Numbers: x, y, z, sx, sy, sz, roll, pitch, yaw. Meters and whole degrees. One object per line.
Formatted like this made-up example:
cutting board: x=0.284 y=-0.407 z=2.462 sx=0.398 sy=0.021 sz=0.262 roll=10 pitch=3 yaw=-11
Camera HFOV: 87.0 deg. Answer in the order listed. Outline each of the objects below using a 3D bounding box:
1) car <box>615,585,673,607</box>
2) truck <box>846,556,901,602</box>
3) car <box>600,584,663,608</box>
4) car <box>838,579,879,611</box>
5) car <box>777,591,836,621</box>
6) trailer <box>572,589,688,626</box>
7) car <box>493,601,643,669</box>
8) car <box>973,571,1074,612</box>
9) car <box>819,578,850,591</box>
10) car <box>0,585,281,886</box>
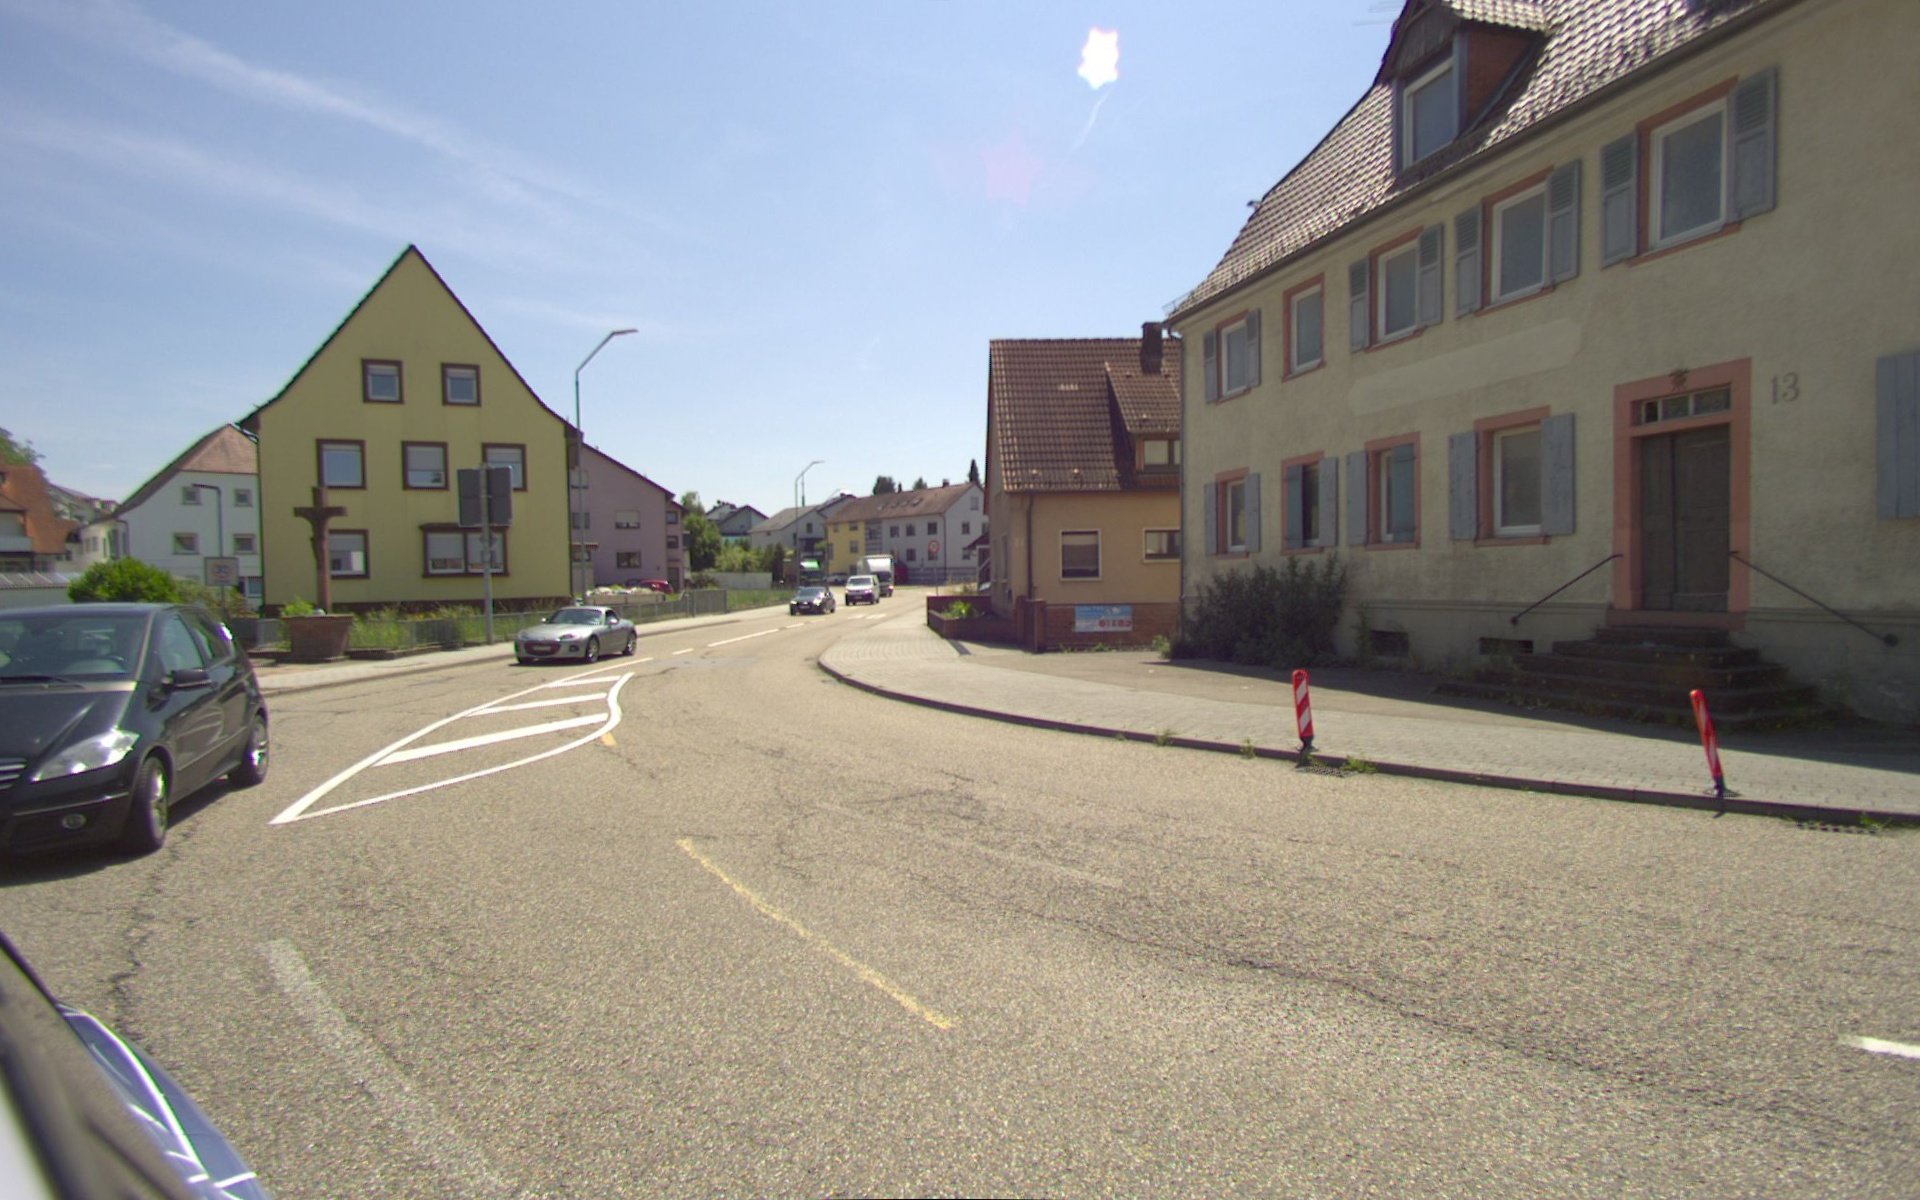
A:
car: x=-21.876 y=-0.278 z=70.071 sx=3.771 sy=1.497 sz=1.767 roll=0 pitch=1 yaw=-19
truck: x=-7.510 y=-1.773 z=86.813 sx=3.152 sy=3.626 sz=8.330 roll=-3 pitch=1 yaw=-15
car: x=-23.428 y=-0.324 z=72.187 sx=4.054 sy=1.559 sz=1.857 roll=-3 pitch=2 yaw=-23
car: x=-6.667 y=-0.379 z=66.772 sx=1.845 sy=1.922 sz=5.031 roll=-2 pitch=1 yaw=4
car: x=-7.733 y=0.268 z=51.431 sx=1.876 sy=1.386 sz=3.991 roll=-2 pitch=1 yaw=8
trailer: x=-16.591 y=0.324 z=50.953 sx=5.271 sy=1.557 sz=2.146 roll=-3 pitch=2 yaw=-25
car: x=-9.009 y=0.747 z=23.645 sx=1.791 sy=1.324 sz=3.996 roll=1 pitch=1 yaw=3
car: x=2.661 y=-0.373 z=42.122 sx=4.086 sy=1.650 sz=1.862 roll=0 pitch=2 yaw=6
car: x=-15.267 y=-1.854 z=122.939 sx=1.708 sy=1.563 sz=4.196 roll=-3 pitch=2 yaw=-39
car: x=-6.407 y=0.808 z=7.211 sx=1.735 sy=1.604 sz=4.211 roll=-2 pitch=-1 yaw=-22
